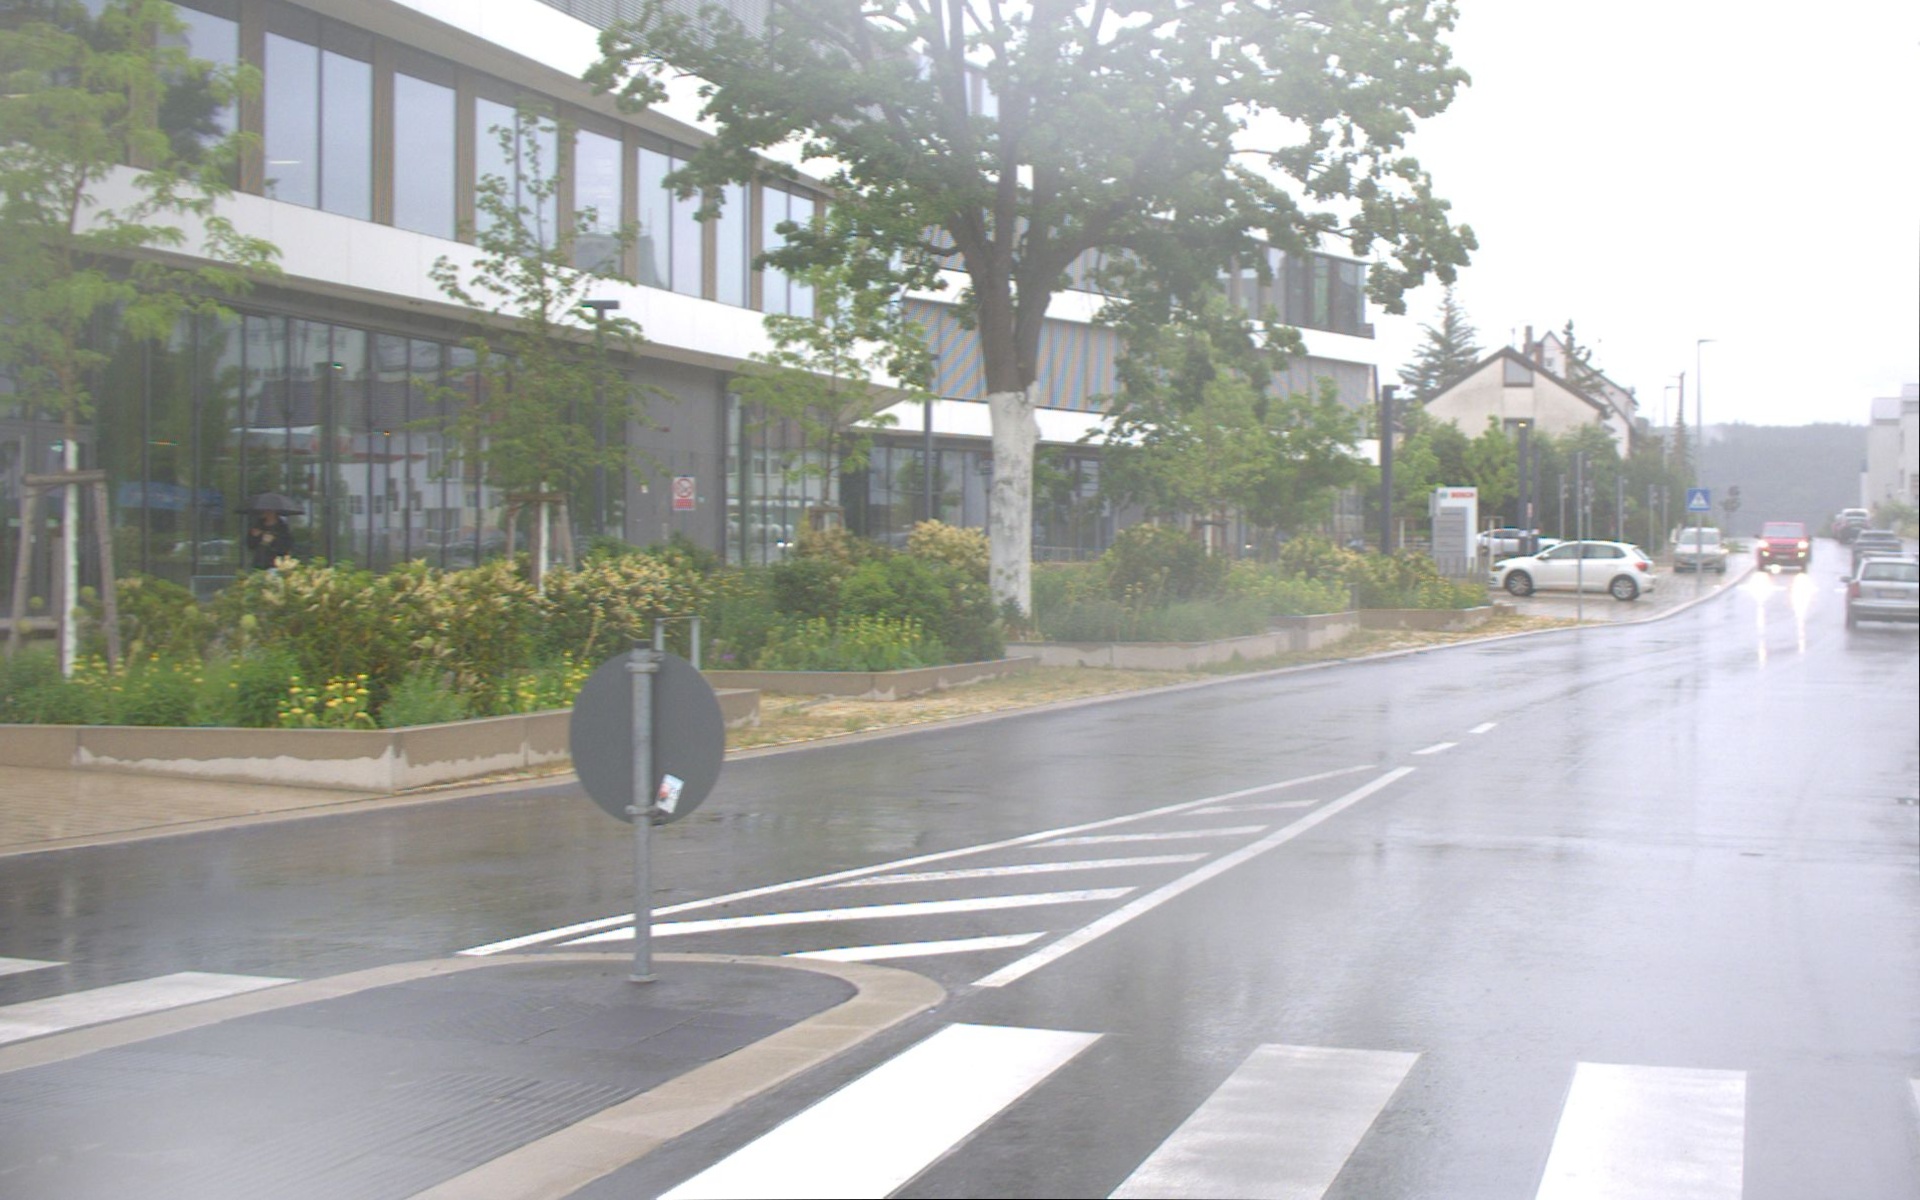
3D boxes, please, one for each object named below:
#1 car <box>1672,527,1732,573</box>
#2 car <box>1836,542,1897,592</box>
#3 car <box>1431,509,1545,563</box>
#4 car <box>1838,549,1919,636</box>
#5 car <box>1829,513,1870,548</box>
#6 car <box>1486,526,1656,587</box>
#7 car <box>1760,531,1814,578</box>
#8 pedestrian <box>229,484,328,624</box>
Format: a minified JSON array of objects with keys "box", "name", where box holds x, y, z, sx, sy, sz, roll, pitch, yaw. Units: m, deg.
[{"box":[27.681,-1.879,128.202,1.995,1.623,4.150,1,2,14],"name":"car"},{"box":[35.373,-1.276,134.207,2.156,1.700,3.997,5,1,14],"name":"car"},{"box":[23.413,-2.842,152.611,4.755,2.007,1.999,5,0,7],"name":"car"},{"box":[18.321,-0.109,67.171,1.949,1.550,3.998,5,1,12],"name":"car"},{"box":[49.152,-3.826,190.016,1.995,1.700,3.997,5,1,14],"name":"car"},{"box":[15.093,-1.080,84.853,3.930,1.418,1.897,1,1,16],"name":"car"},{"box":[32.716,-1.811,135.985,2.004,1.811,4.976,1,1,14],"name":"car"},{"box":[-8.651,-0.574,43.650,0.725,1.698,0.955,5,0,18],"name":"pedestrian"}]
